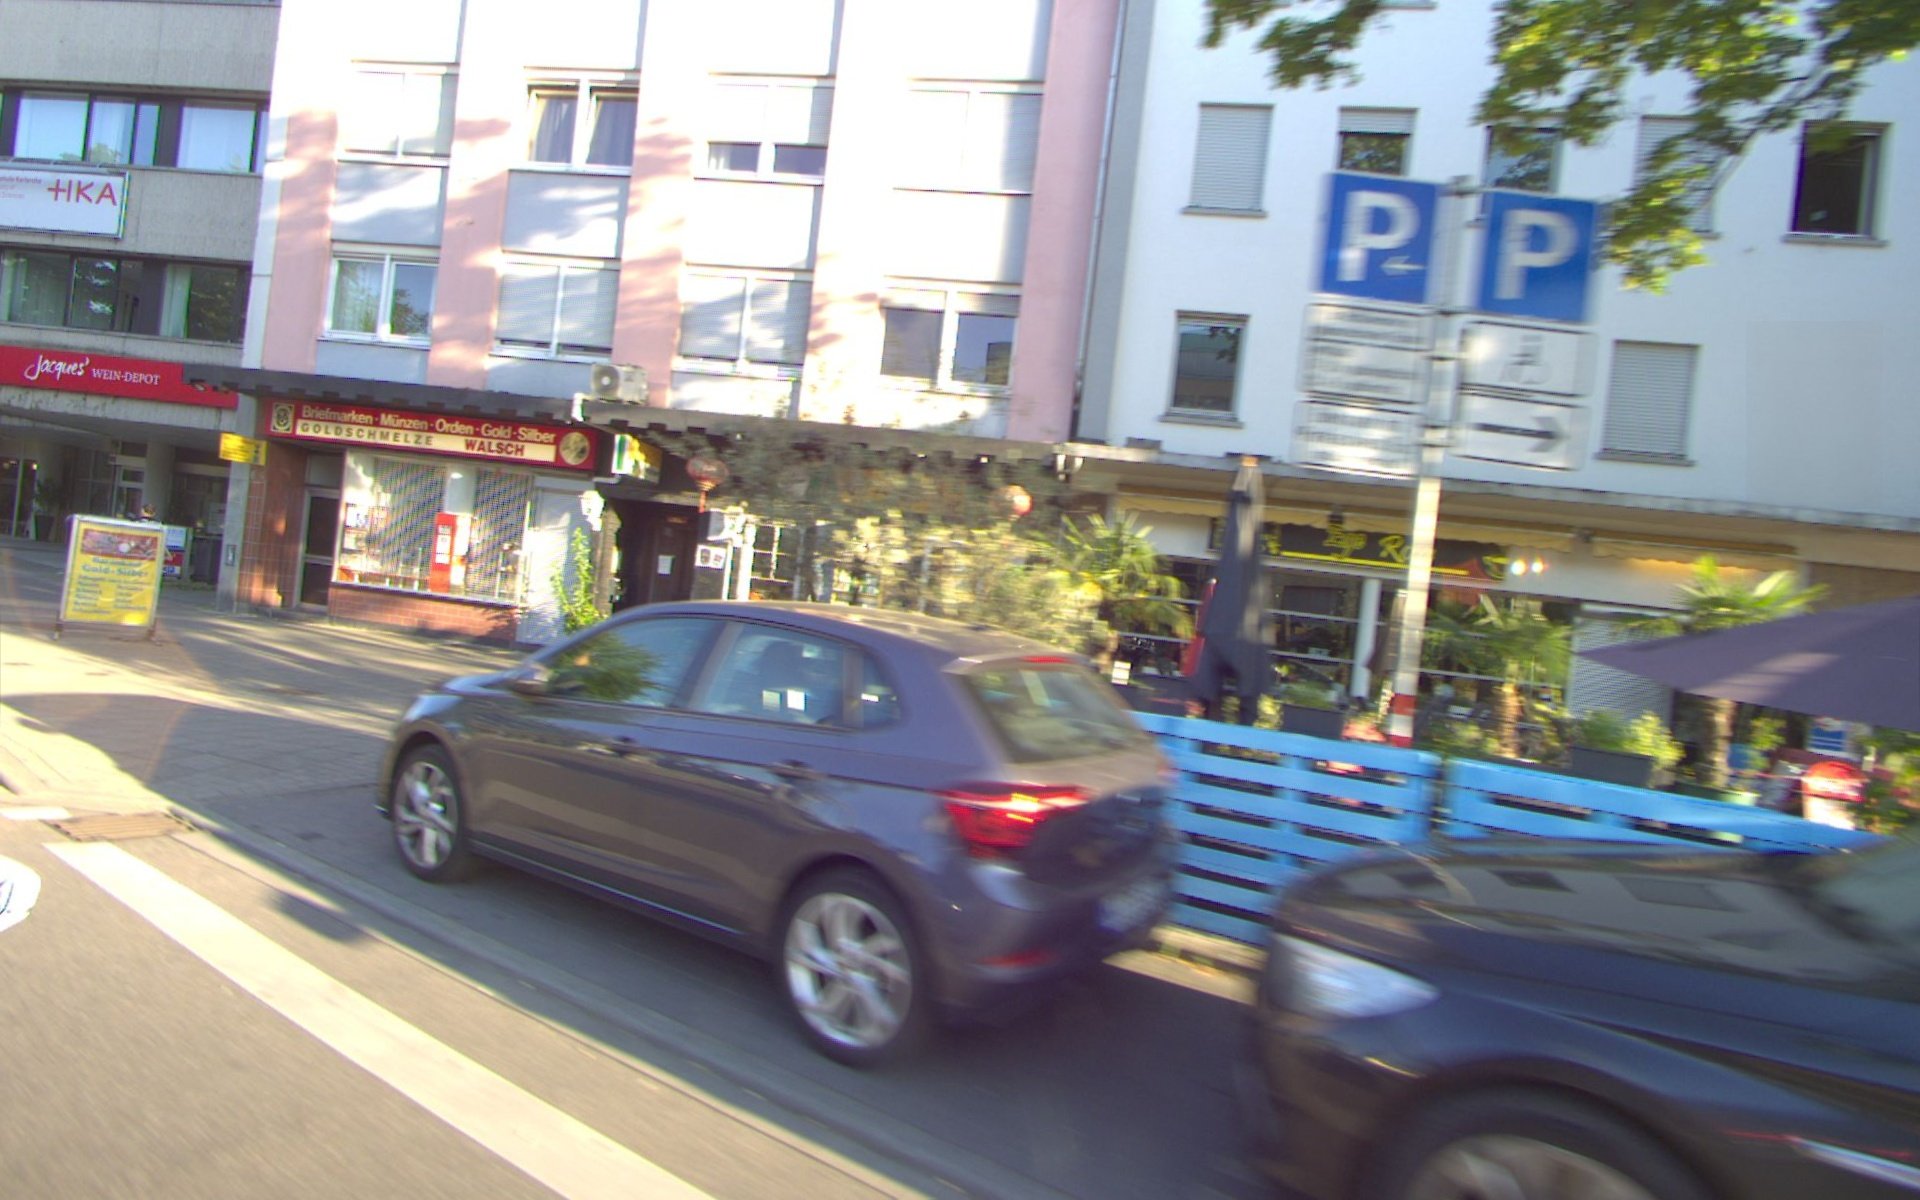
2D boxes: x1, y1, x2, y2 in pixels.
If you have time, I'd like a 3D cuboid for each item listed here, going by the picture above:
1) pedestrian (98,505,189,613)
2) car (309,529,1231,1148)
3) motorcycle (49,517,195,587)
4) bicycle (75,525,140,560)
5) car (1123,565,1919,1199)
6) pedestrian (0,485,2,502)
[{"bbox_3d":[-13.307,-0.656,16.407,0.840,1.648,0.641,7,2,10],"label":"pedestrian"},{"bbox_3d":[-1.049,0.679,4.638,4.000,1.552,1.653,6,-2,33],"label":"car"},{"bbox_3d":[-18.196,-1.005,21.914,0.692,1.204,2.283,7,-1,24],"label":"motorcycle"},{"bbox_3d":[-26.319,-1.765,31.078,0.430,0.838,1.397,7,-2,24],"label":"bicycle"},{"bbox_3d":[2.953,1.067,2.040,4.732,1.689,1.808,7,-1,31],"label":"car"},{"bbox_3d":[-17.242,-1.164,17.256,0.840,1.807,0.641,7,-1,10],"label":"pedestrian"}]
